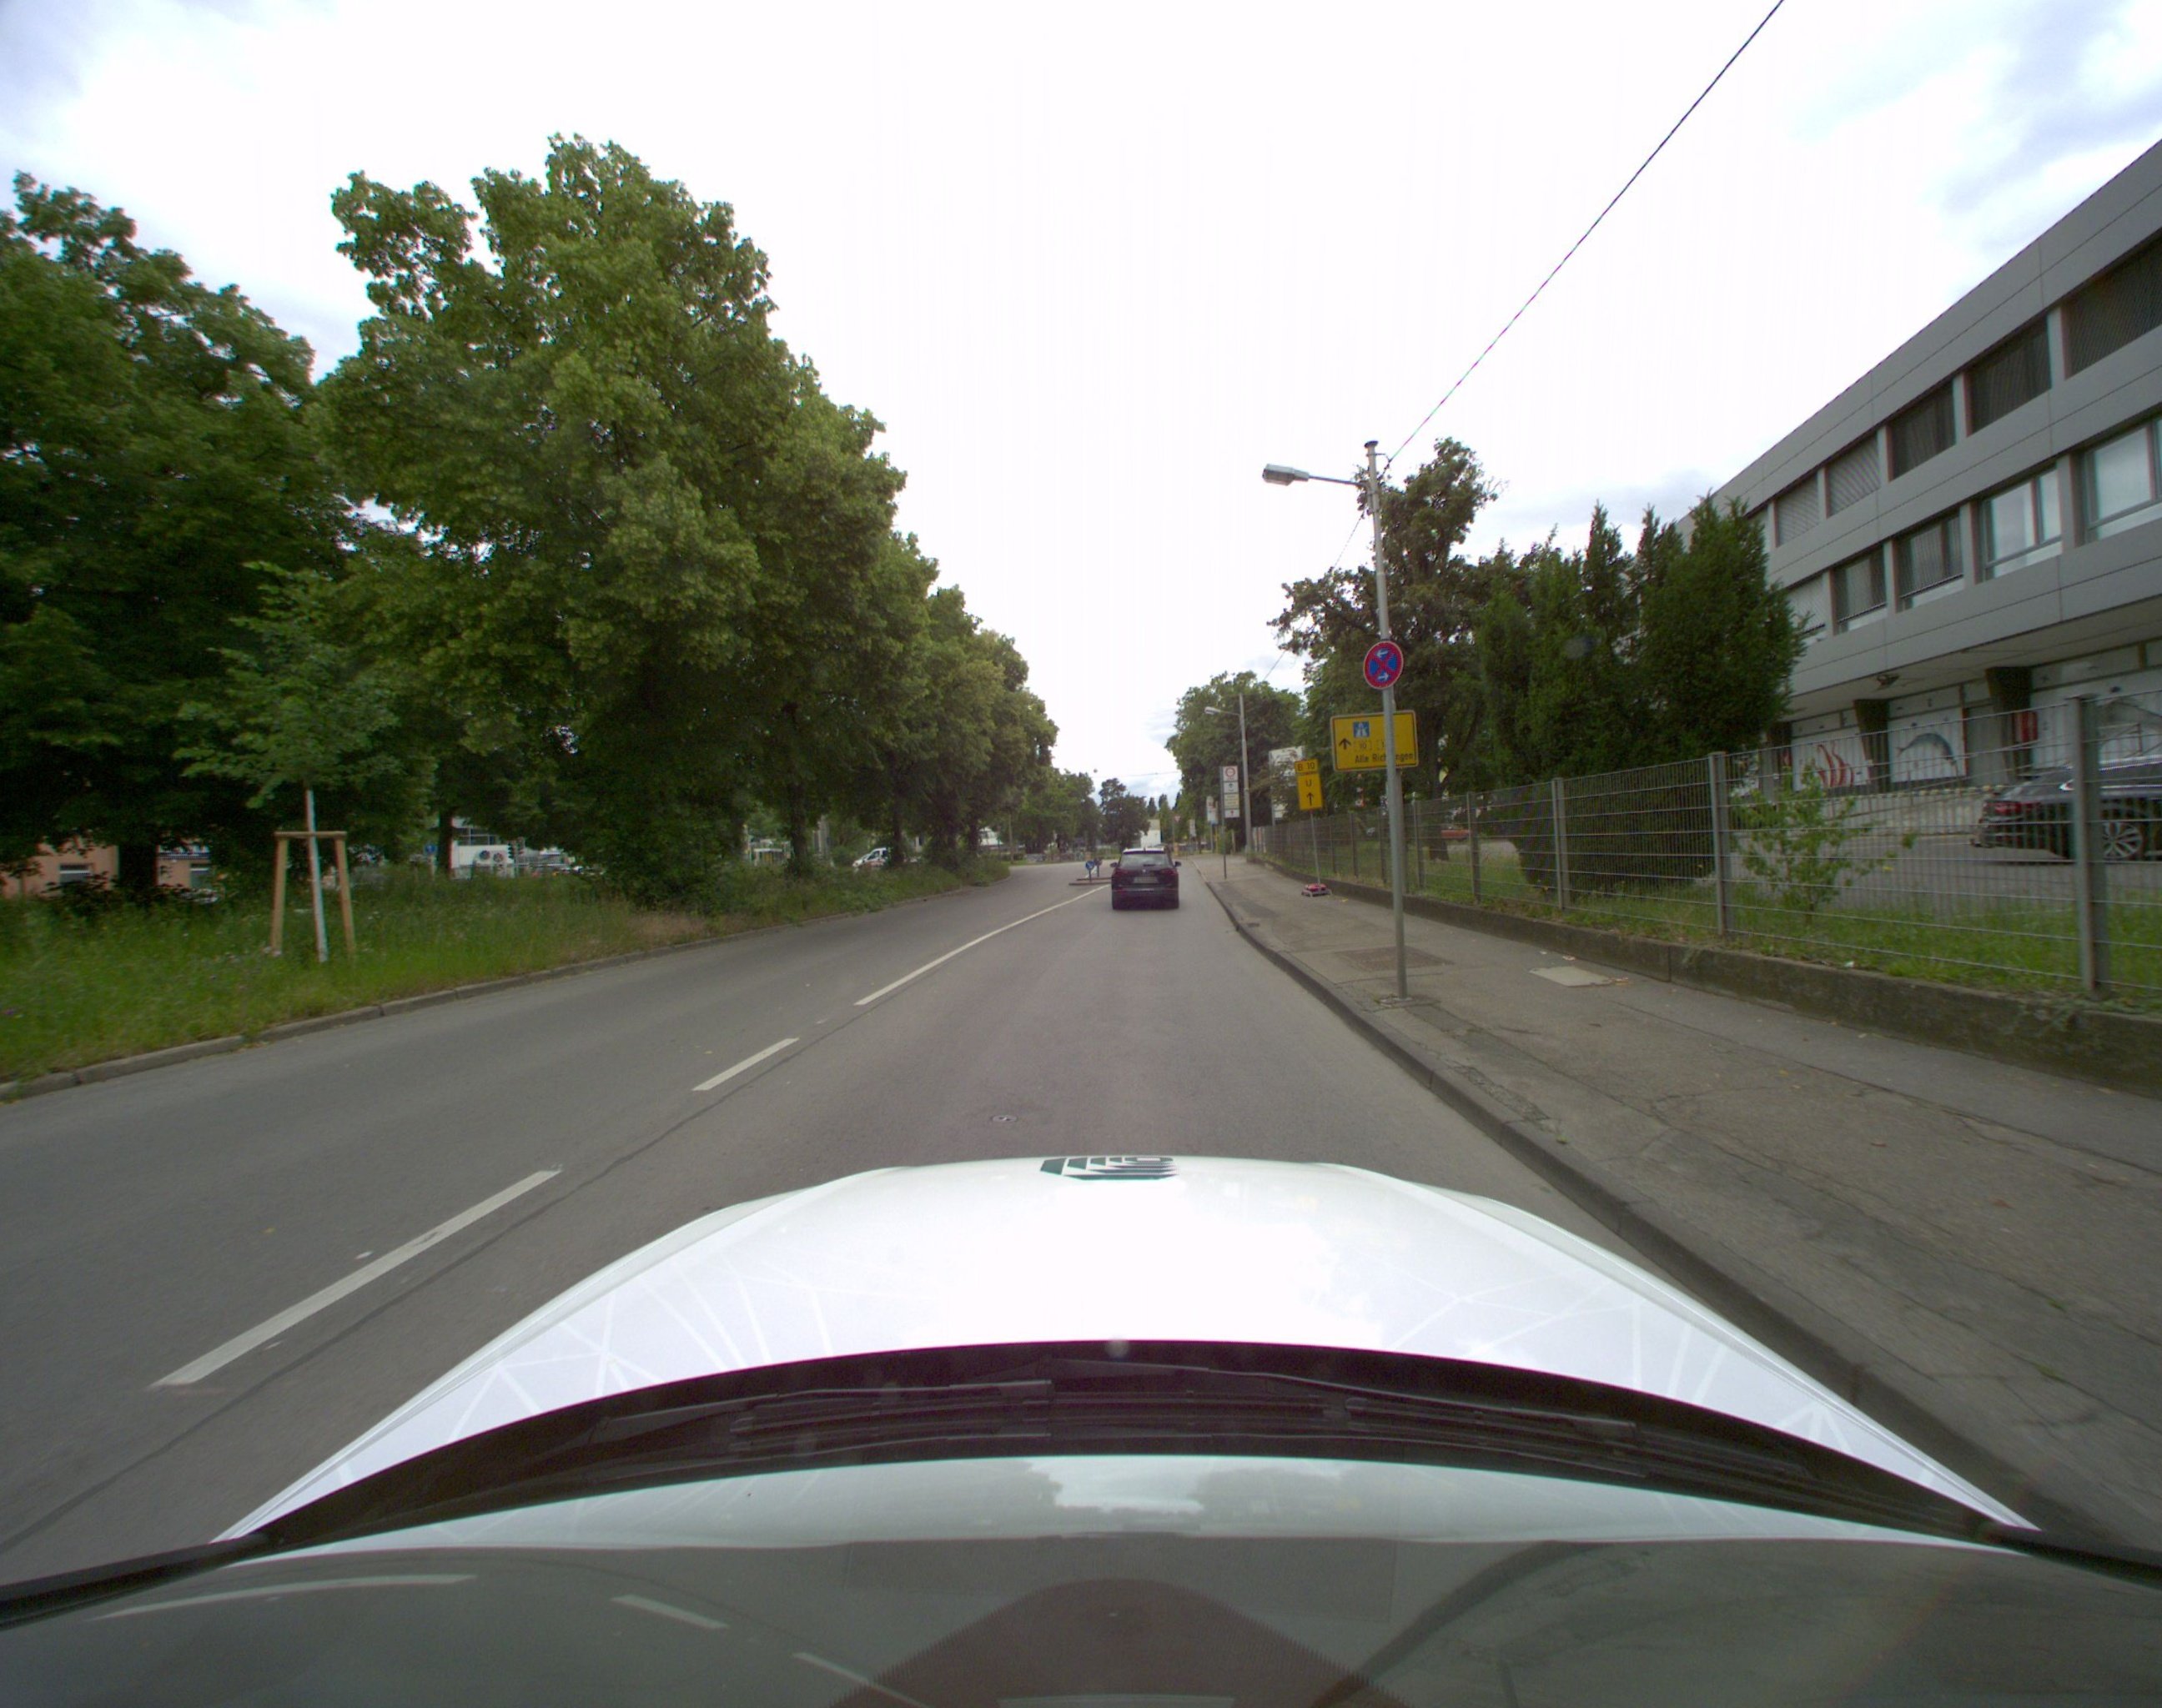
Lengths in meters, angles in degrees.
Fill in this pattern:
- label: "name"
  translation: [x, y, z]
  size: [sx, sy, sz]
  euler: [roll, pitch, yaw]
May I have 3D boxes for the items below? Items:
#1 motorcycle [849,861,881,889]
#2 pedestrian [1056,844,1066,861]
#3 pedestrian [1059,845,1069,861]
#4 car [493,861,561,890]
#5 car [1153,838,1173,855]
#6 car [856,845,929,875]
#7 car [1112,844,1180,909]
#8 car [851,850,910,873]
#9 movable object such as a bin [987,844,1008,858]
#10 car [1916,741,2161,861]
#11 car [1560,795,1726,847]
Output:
- label: "motorcycle"
  translation: [-9.980, 0.956, 37.696]
  size: [0.562, 1.168, 2.041]
  euler: [-4, 1, 9]
- label: "pedestrian"
  translation: [-2.154, -0.142, 87.033]
  size: [0.732, 1.741, 0.734]
  euler: [-4, 1, -44]
- label: "pedestrian"
  translation: [-1.850, -0.101, 87.999]
  size: [0.732, 1.741, 0.734]
  euler: [-4, 1, -44]
- label: "car"
  translation: [-30.075, 1.158, 44.302]
  size: [1.552, 1.349, 2.881]
  euler: [-3, 1, 2]
- label: "car"
  translation: [8.533, -0.808, 84.879]
  size: [1.648, 1.574, 3.840]
  euler: [-4, 0, 10]
- label: "car"
  translation: [-17.223, 0.522, 74.626]
  size: [6.052, 2.387, 2.394]
  euler: [-4, 1, -1]
- label: "car"
  translation: [1.806, 0.566, 22.865]
  size: [1.731, 1.618, 3.645]
  euler: [-1, 1, 4]
- label: "car"
  translation: [-19.283, 0.717, 78.508]
  size: [4.947, 1.942, 2.055]
  euler: [-3, 1, 10]
- label: "movable object such as a bin"
  translation: [-12.455, -0.438, 121.723]
  size: [1.975, 2.013, 2.414]
  euler: [-3, 1, 27]
- label: "car"
  translation: [15.046, -0.808, 11.369]
  size: [2.012, 1.474, 4.635]
  euler: [-4, 0, -44]
- label: "car"
  translation: [20.444, -1.192, 29.835]
  size: [4.797, 1.534, 2.037]
  euler: [-3, 1, 33]
